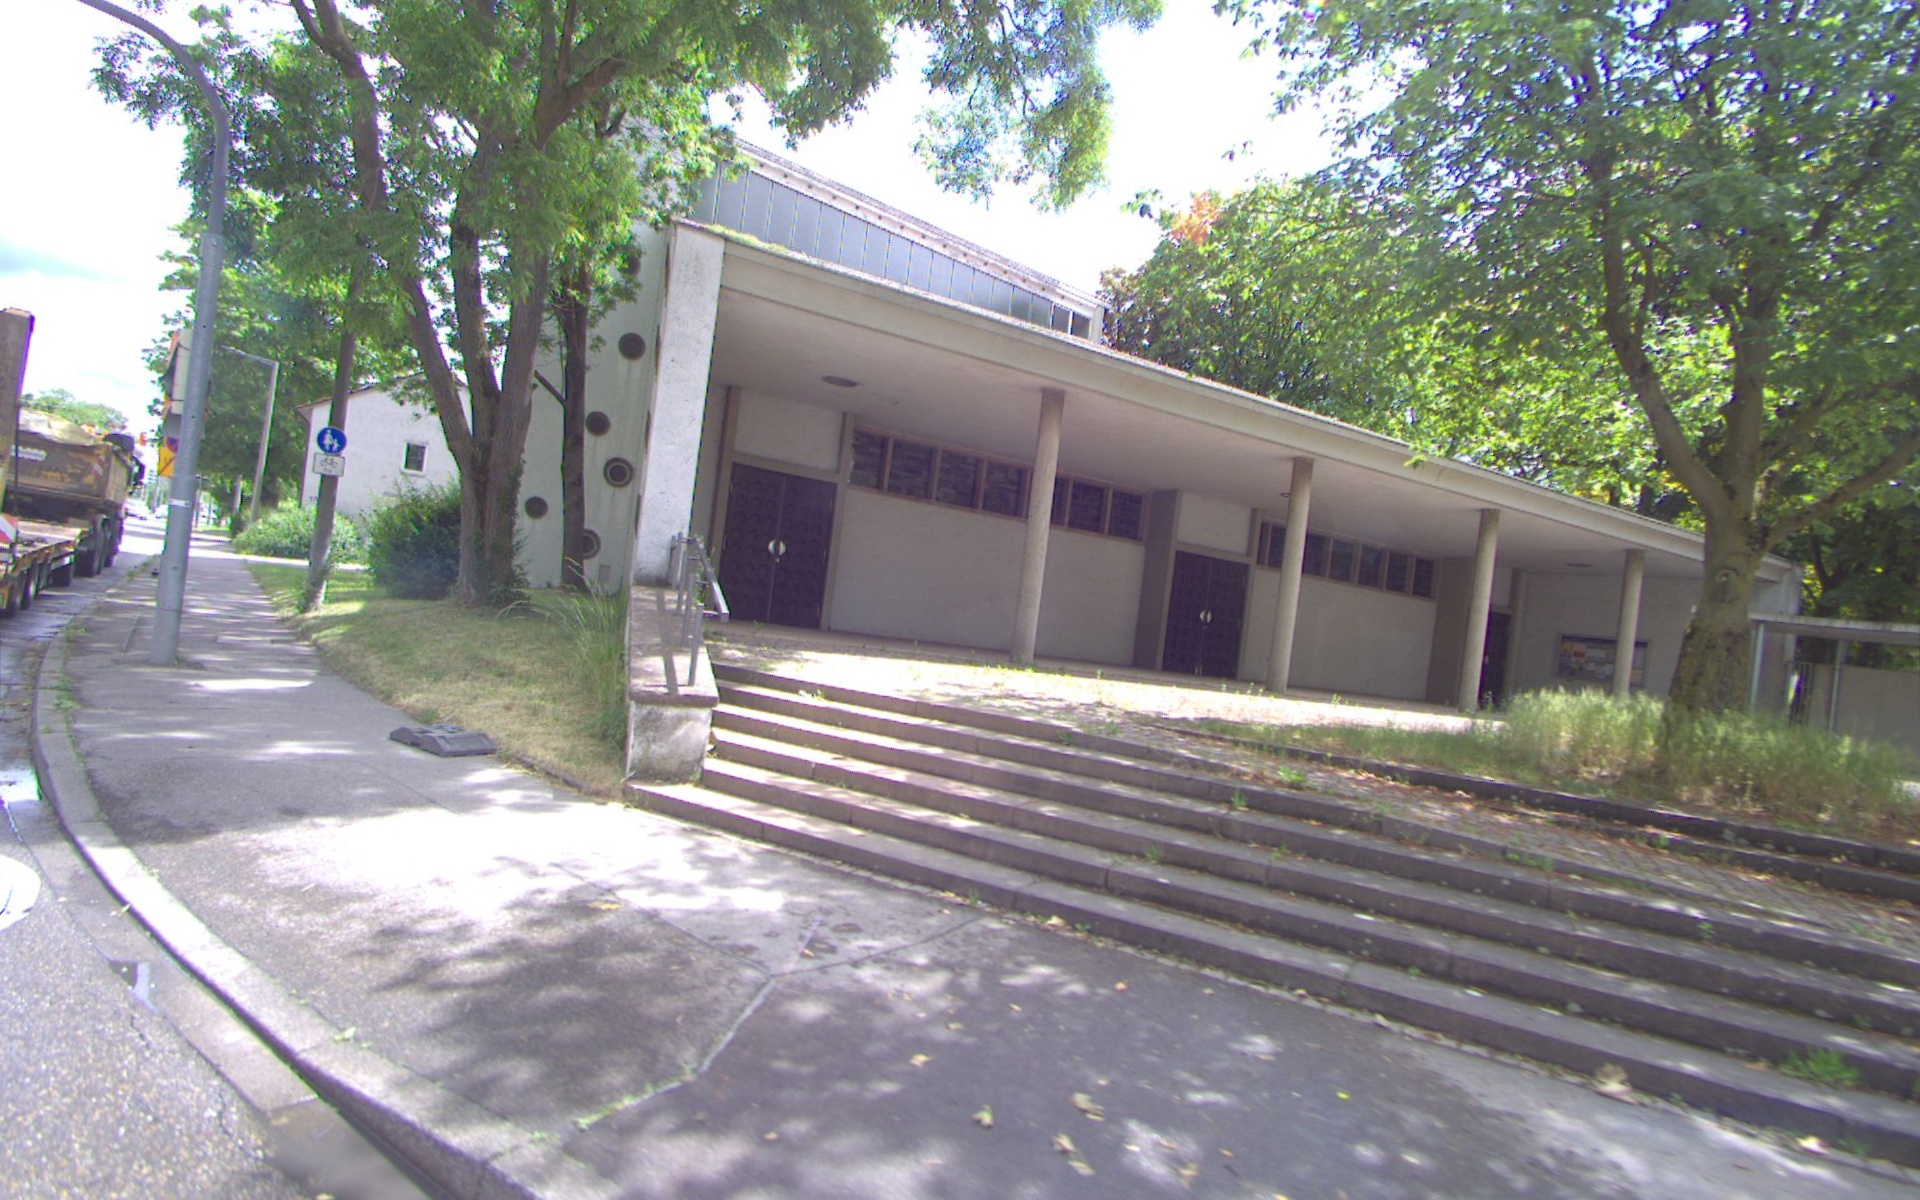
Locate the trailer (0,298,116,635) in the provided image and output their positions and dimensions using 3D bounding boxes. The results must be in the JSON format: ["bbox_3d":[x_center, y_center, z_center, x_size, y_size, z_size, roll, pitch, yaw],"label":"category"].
[{"bbox_3d":[-14.488,-1.946,14.405,2.811,3.564,10.936,9,-2,-38],"label":"trailer"}]

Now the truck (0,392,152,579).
[{"bbox_3d":[-19.952,-2.464,21.911,2.904,3.203,7.604,10,-2,-36],"label":"truck"}]

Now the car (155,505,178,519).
[{"bbox_3d":[-94.465,-10.467,119.803,1.669,1.468,4.037,7,0,-33],"label":"car"}]

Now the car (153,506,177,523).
[{"bbox_3d":[-86.534,-9.318,109.485,1.642,1.538,3.829,9,-2,-35],"label":"car"}]

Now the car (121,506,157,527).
[{"bbox_3d":[-69.881,-7.083,85.696,1.868,1.499,4.486,8,-1,-34],"label":"car"}]
